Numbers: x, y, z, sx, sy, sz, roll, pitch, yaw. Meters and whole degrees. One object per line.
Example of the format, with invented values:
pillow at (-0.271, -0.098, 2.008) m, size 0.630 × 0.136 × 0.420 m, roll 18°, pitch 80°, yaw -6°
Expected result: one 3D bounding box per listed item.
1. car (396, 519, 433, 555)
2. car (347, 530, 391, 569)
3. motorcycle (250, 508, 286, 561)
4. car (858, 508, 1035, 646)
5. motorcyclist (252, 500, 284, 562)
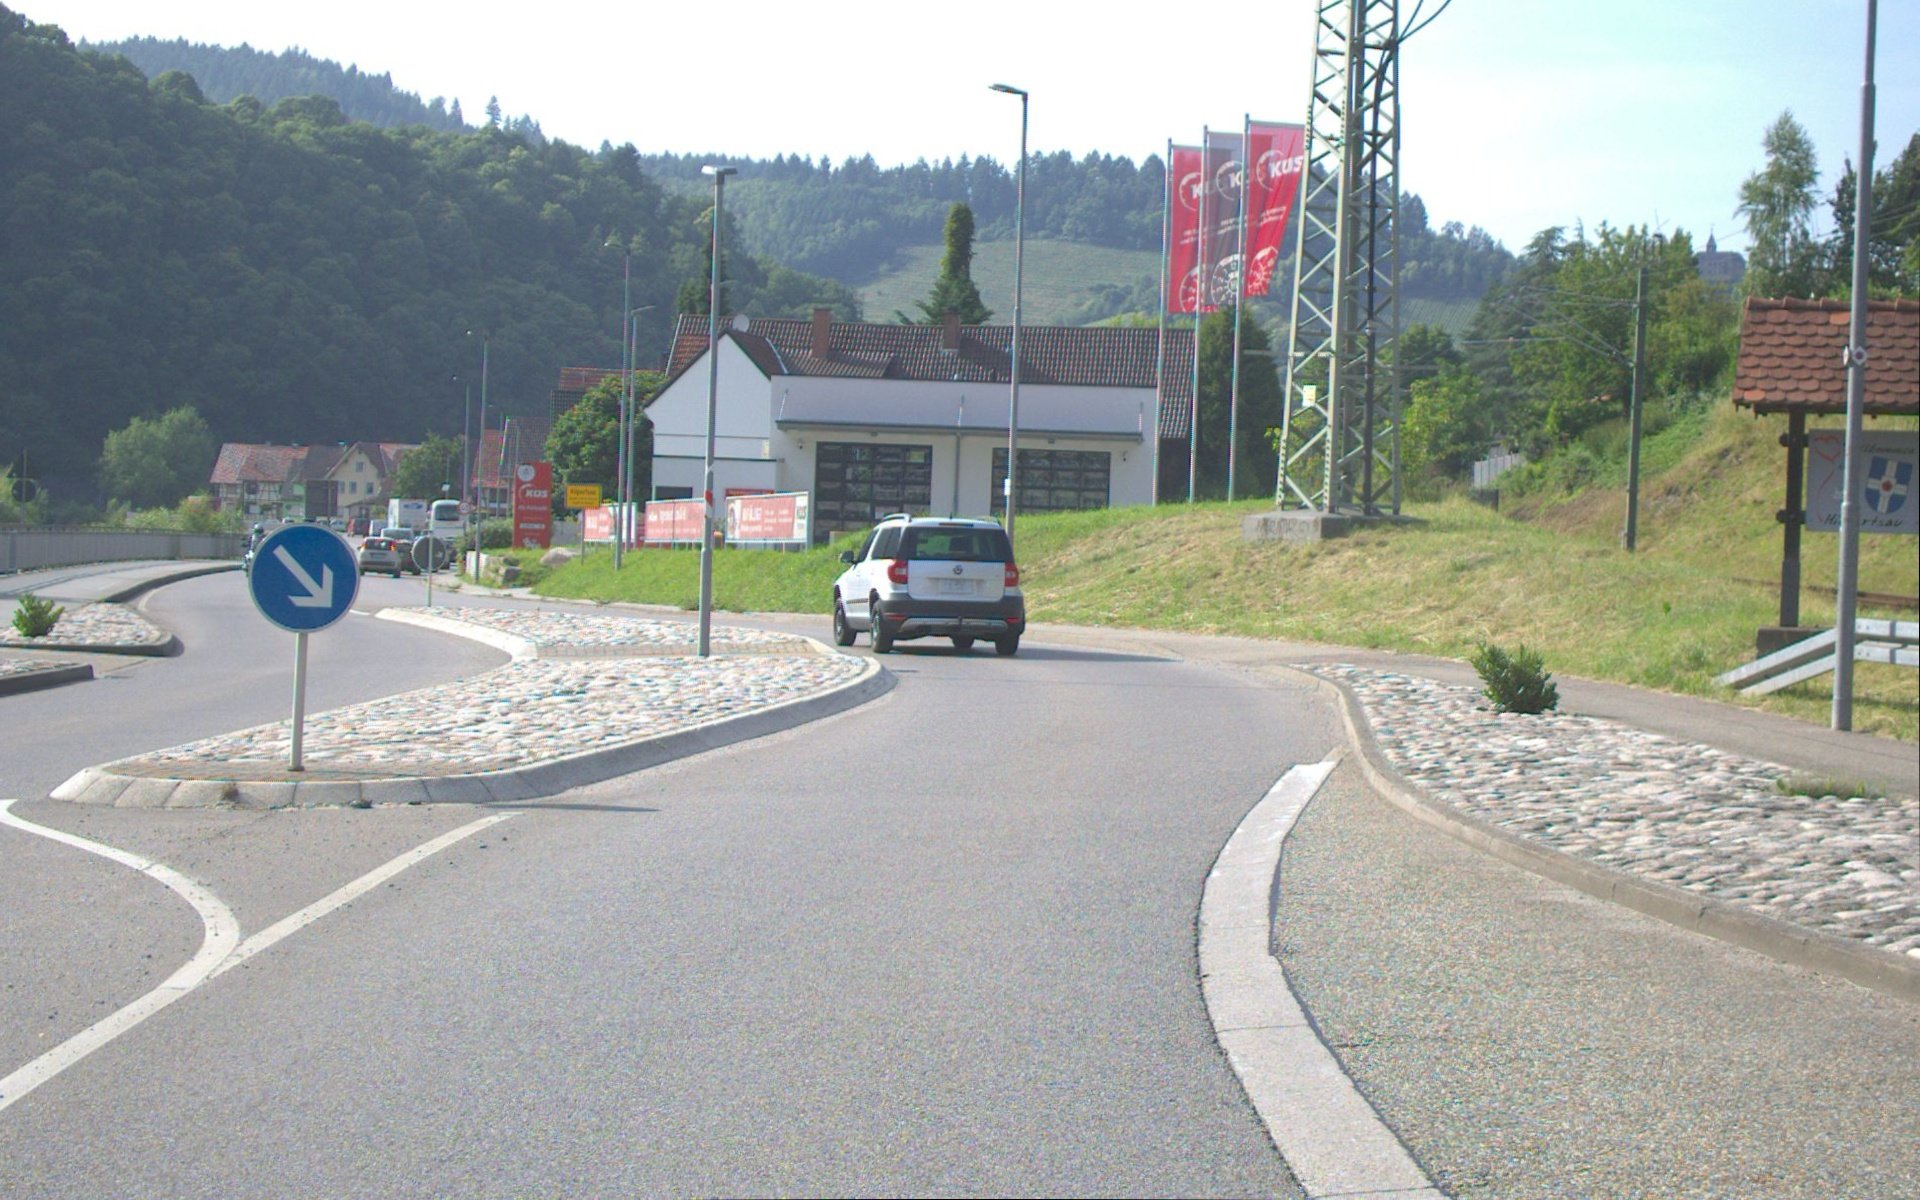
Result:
car at (-23.418, -2.700, 147.632) m, size 1.356 × 1.430 × 2.839 m, roll 2°, pitch 2°, yaw -7°
car at (-23.515, -2.019, 136.903) m, size 1.453 × 1.430 × 2.936 m, roll 2°, pitch 2°, yaw -6°
motorcycle at (-19.037, -1.797, 94.577) m, size 0.772 × 1.417 × 2.319 m, roll 1°, pitch 1°, yaw -7°
car at (-0.223, -0.301, 42.462) m, size 1.860 × 1.539 × 4.374 m, roll 2°, pitch 1°, yaw -4°
motorcyclist at (-19.035, -1.901, 94.610) m, size 0.763 × 1.672 × 0.727 m, roll 1°, pitch 0°, yaw -6°
